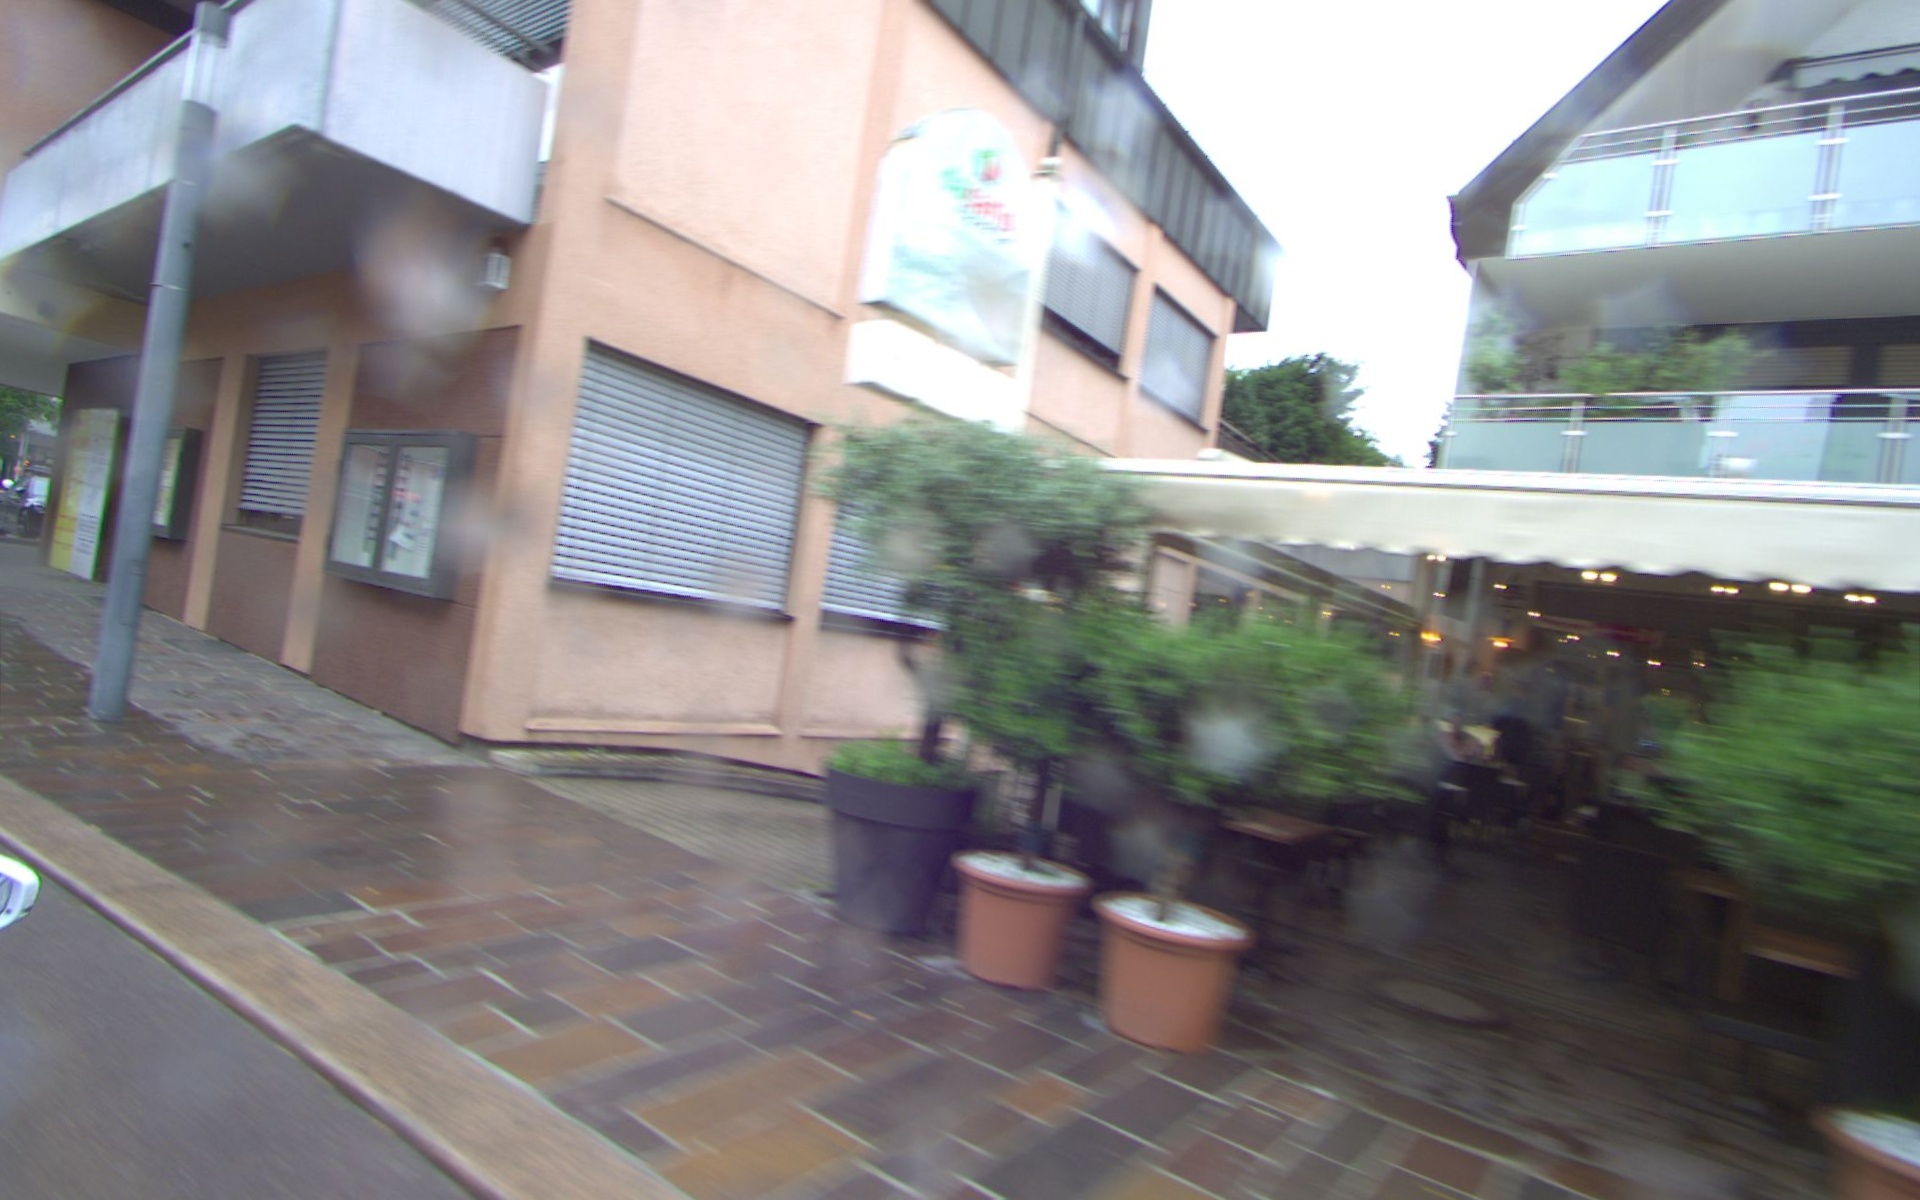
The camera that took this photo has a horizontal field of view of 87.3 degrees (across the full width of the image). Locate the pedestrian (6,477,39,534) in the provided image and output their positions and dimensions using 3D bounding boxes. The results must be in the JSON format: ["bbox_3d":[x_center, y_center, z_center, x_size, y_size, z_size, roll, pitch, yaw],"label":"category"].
[{"bbox_3d":[-26.231,-2.645,28.146,0.484,1.526,0.495,8,0,44],"label":"pedestrian"}]

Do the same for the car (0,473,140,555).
[{"bbox_3d":[-19.350,-1.893,21.566,4.405,1.291,1.763,7,-1,38],"label":"car"}]

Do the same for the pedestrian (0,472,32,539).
[{"bbox_3d":[-25.066,-2.493,26.354,0.689,1.681,0.817,8,0,-22],"label":"pedestrian"}]

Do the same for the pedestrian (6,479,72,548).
[{"bbox_3d":[-24.973,-2.326,27.290,0.954,1.658,0.731,8,-1,-21],"label":"pedestrian"}]
